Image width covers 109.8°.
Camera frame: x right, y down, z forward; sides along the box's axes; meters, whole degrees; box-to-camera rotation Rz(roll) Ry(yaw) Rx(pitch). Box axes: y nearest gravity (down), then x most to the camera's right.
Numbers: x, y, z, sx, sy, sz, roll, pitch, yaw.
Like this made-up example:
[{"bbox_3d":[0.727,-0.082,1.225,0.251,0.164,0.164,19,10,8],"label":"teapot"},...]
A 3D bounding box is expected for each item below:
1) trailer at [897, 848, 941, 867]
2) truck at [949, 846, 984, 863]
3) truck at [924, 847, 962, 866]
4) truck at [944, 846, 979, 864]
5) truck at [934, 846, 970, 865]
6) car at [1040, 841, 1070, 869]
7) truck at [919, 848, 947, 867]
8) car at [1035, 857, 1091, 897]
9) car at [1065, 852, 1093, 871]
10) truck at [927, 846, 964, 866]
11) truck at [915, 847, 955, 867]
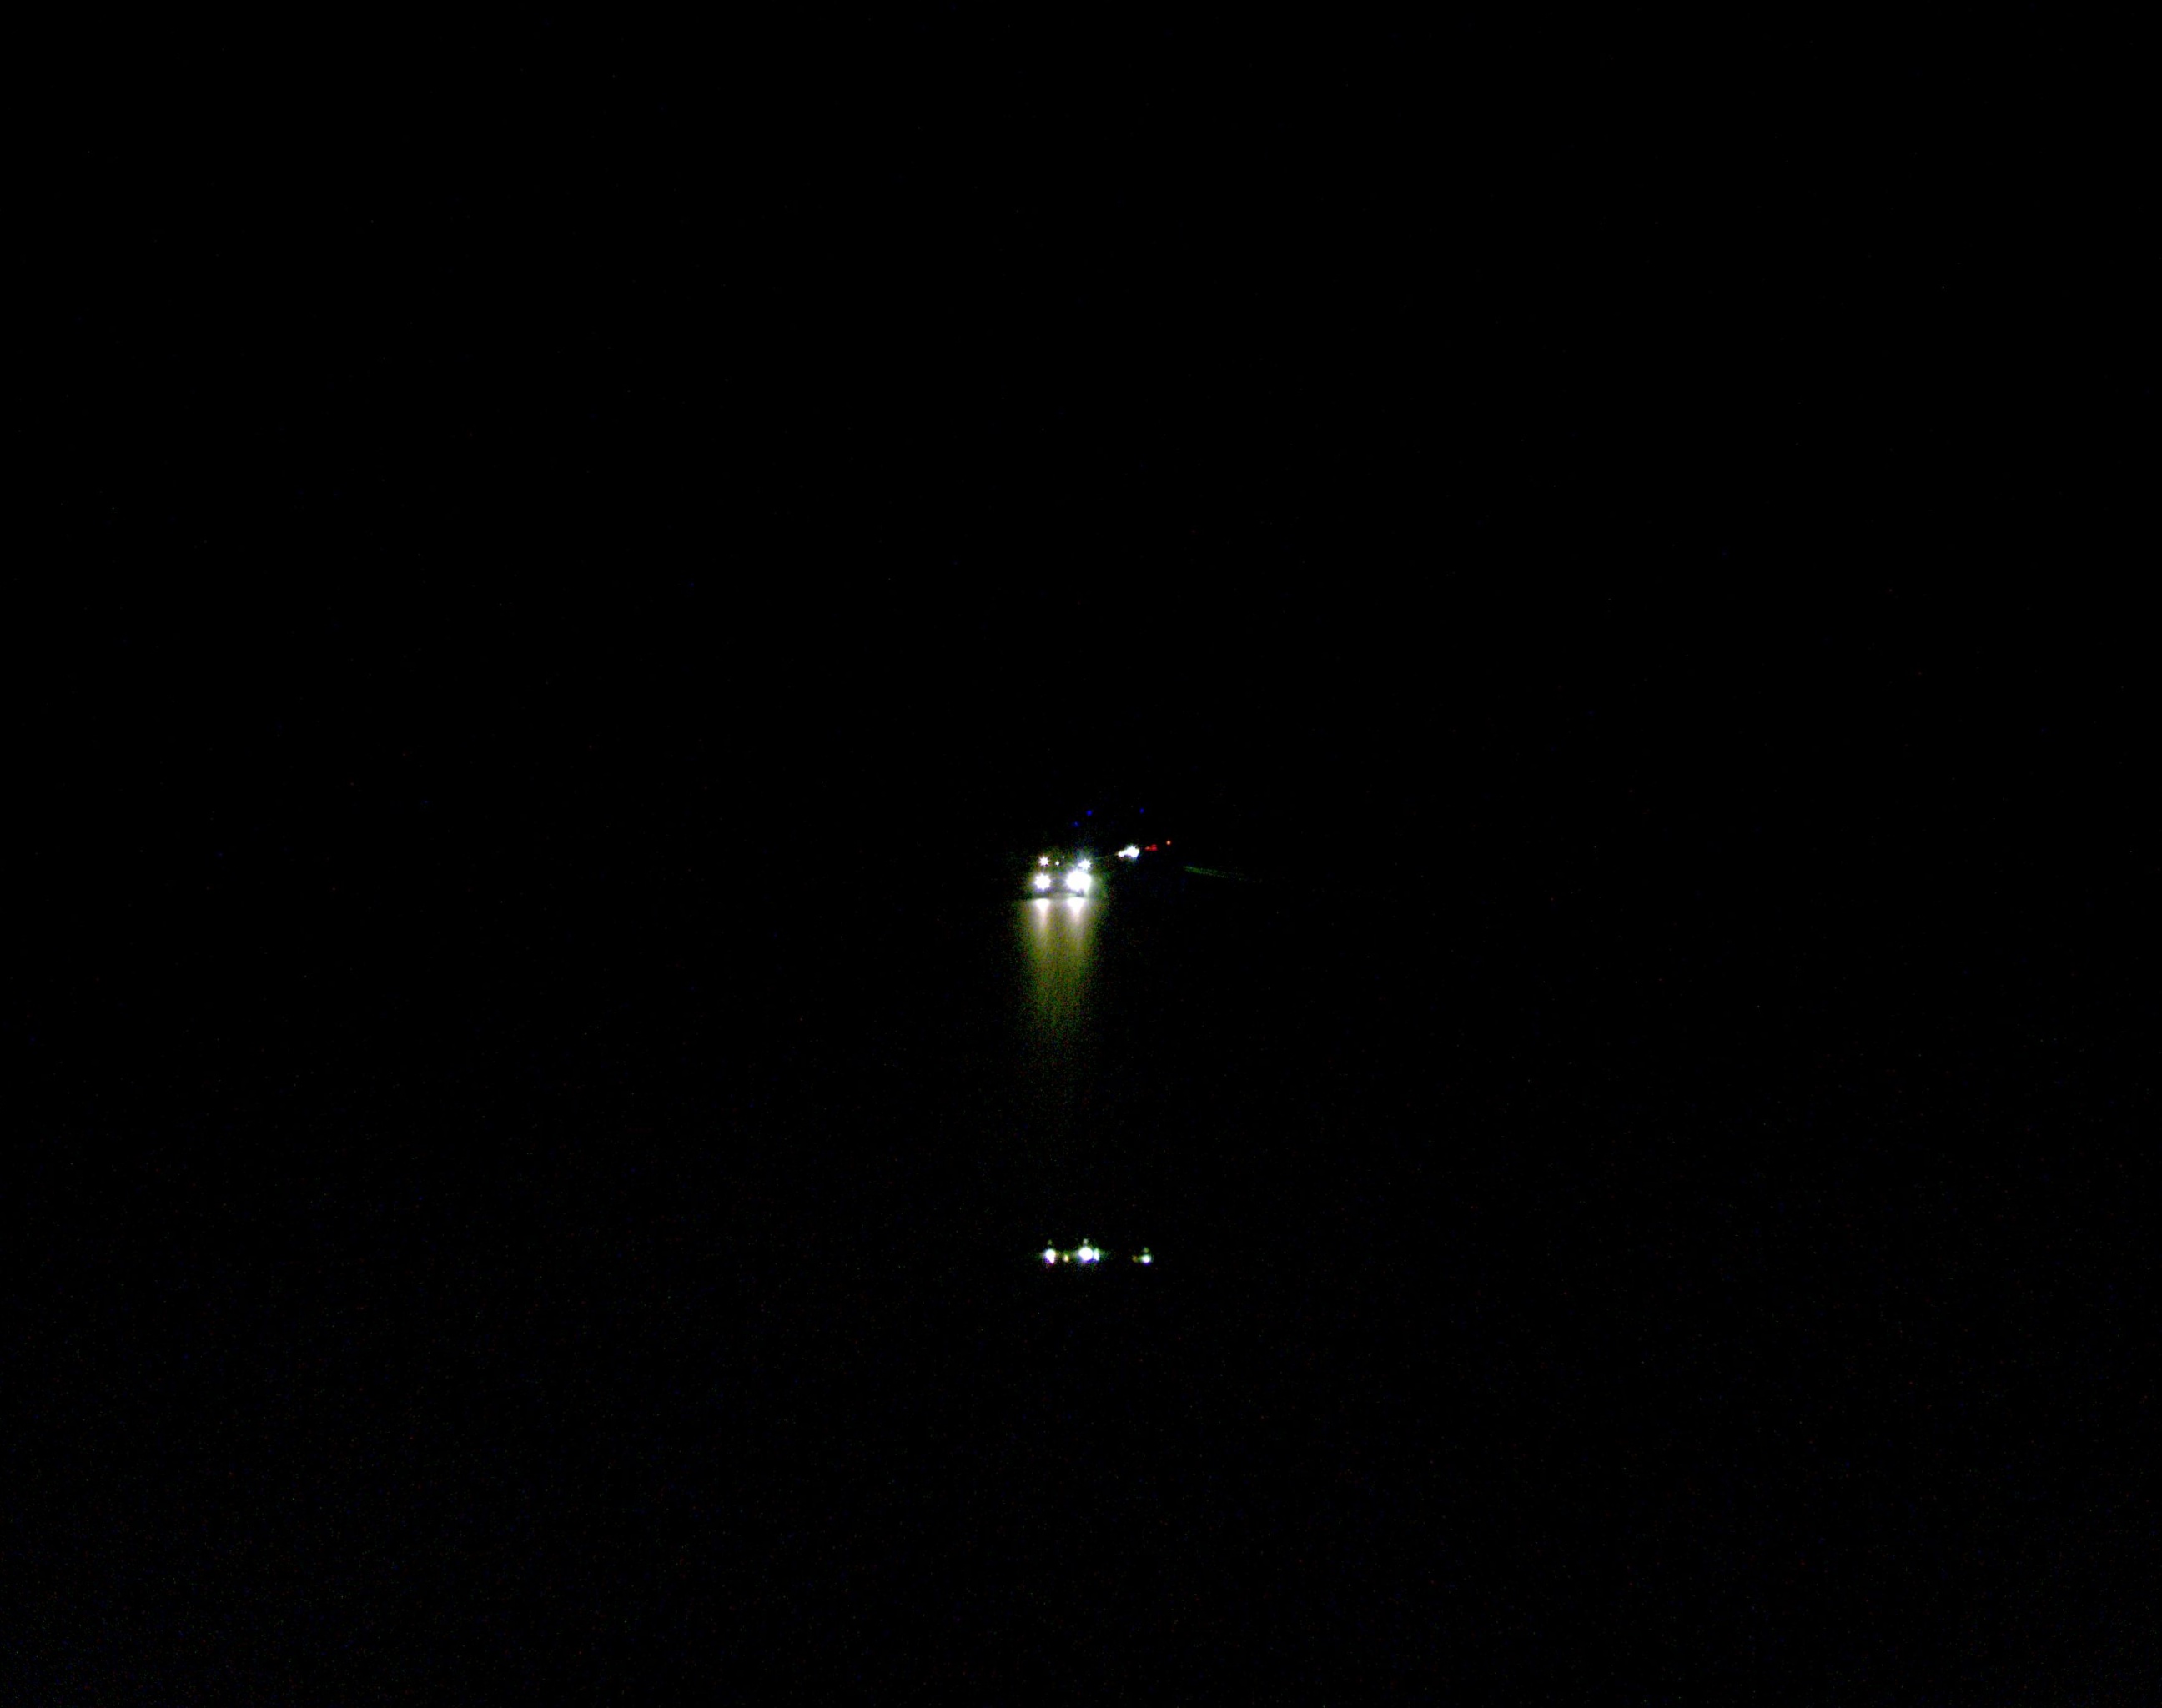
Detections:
[{"bbox_3d":[-34.089,0.828,159.034,2.547,3.644,12.962,-4,1,-43],"label":"trailer"},{"bbox_3d":[-28.023,0.172,185.090,9.637,3.902,3.065,-2,1,45],"label":"truck"},{"bbox_3d":[-30.156,0.639,166.100,9.637,3.667,3.066,-2,1,45],"label":"truck"},{"bbox_3d":[-28.513,0.251,180.853,9.637,3.902,2.965,-2,1,45],"label":"truck"},{"bbox_3d":[-30.211,0.385,177.481,9.637,3.902,3.065,-2,1,45],"label":"truck"},{"bbox_3d":[-2.838,0.126,85.122,2.533,2.888,6.229,-2,0,4],"label":"car"},{"bbox_3d":[-30.156,0.710,154.774,2.537,3.628,6.193,-4,1,-43],"label":"truck"},{"bbox_3d":[-0.649,0.862,30.502,1.832,1.404,4.001,-2,0,4],"label":"car"},{"bbox_3d":[-0.143,0.645,65.797,1.998,1.455,4.001,-2,0,4],"label":"car"},{"bbox_3d":[-30.688,0.478,172.006,9.637,3.902,3.065,-2,1,45],"label":"truck"},{"bbox_3d":[-31.060,0.629,161.339,9.637,3.902,3.065,-2,1,45],"label":"truck"}]
